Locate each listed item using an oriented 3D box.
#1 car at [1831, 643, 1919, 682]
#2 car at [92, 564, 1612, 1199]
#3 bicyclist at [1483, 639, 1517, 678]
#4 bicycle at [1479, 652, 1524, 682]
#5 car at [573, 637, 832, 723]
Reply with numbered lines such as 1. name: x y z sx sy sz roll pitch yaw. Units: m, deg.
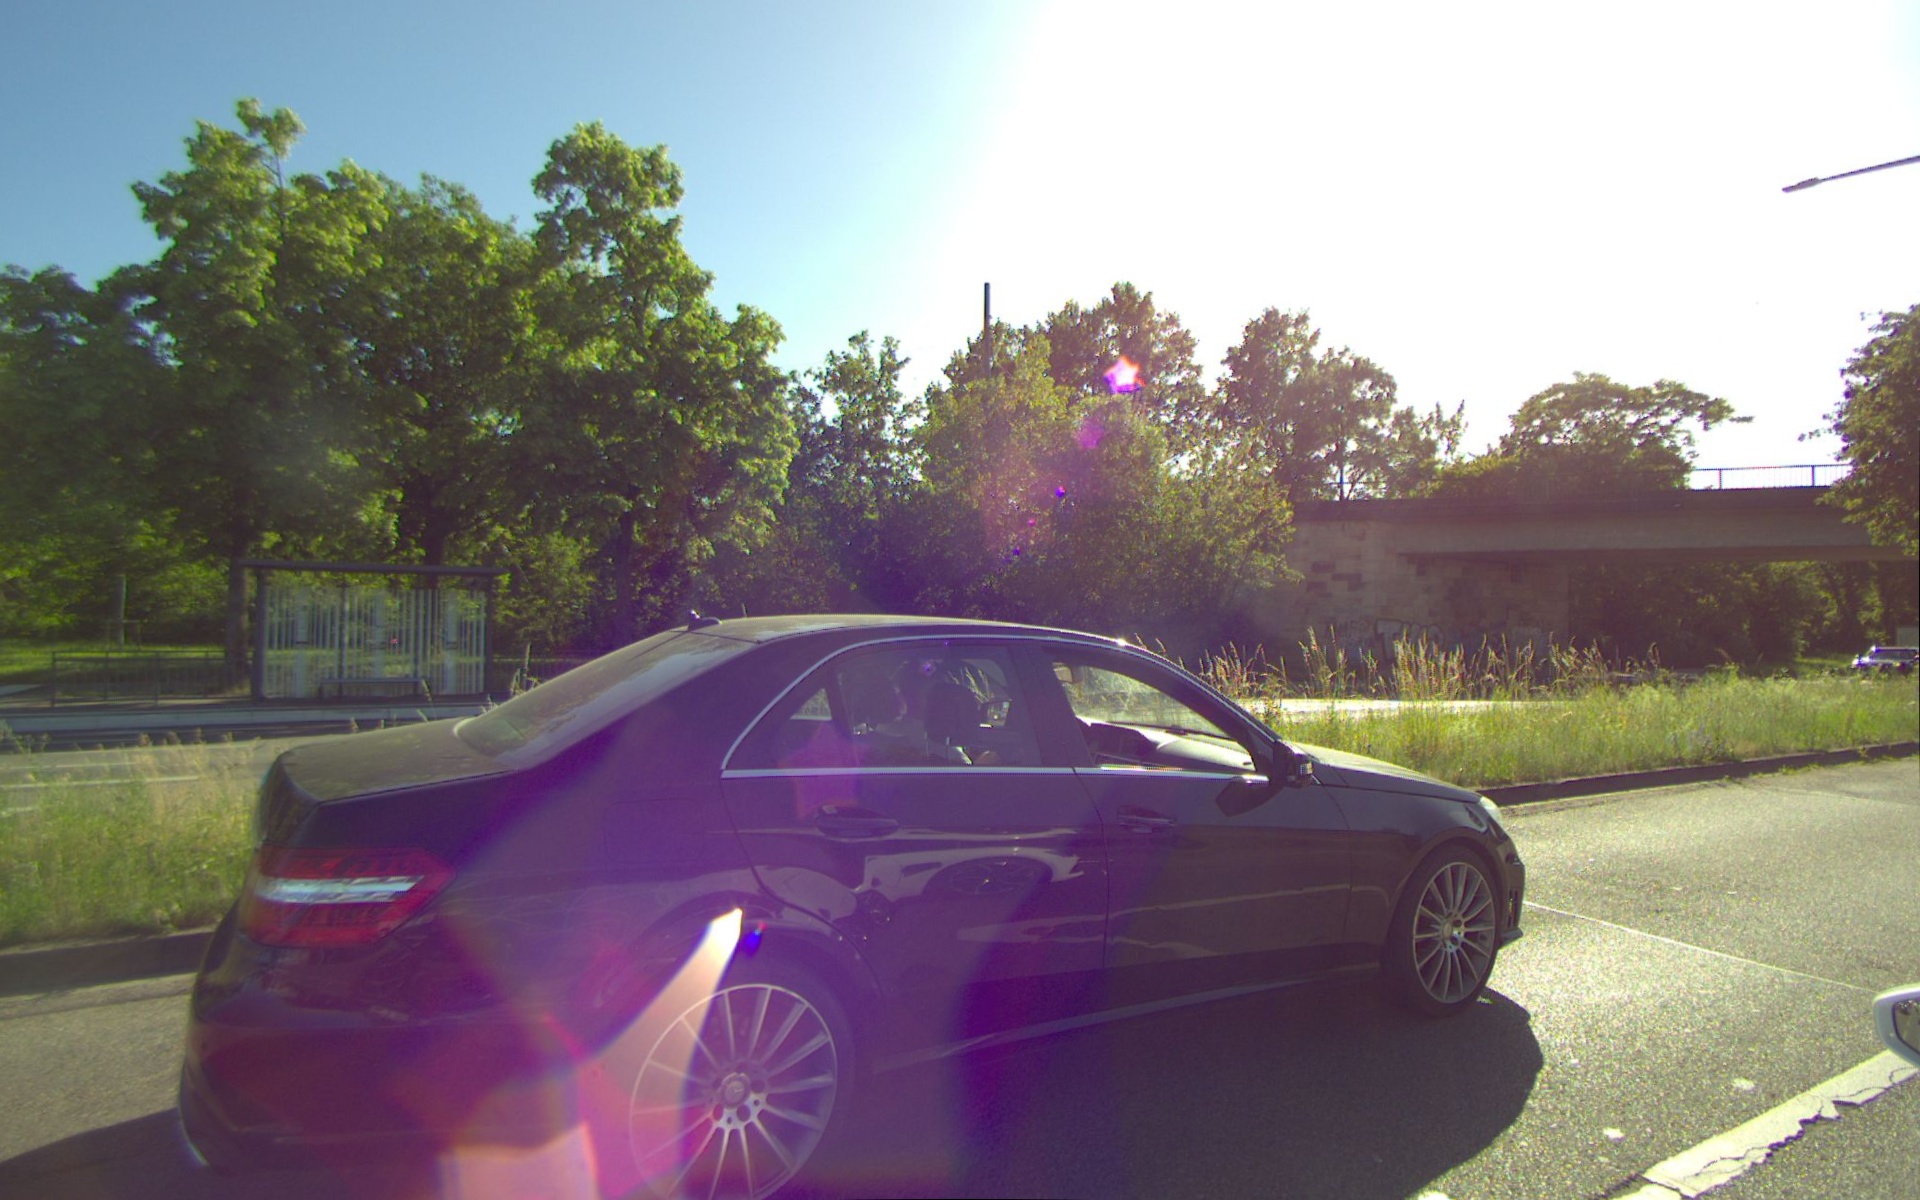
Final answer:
1. car: 36.343 2.446 39.602 4.042 1.461 1.808 2 -3 -31
2. car: 0.133 0.771 3.820 4.859 1.502 1.950 2 -2 -30
3. bicyclist: 20.083 2.162 37.364 1.015 1.420 0.677 2 -1 -30
4. bicycle: 20.175 2.493 37.421 1.695 1.044 0.680 2 -1 -31
5. car: -4.865 1.501 19.139 4.438 1.473 1.905 2 -4 -31
